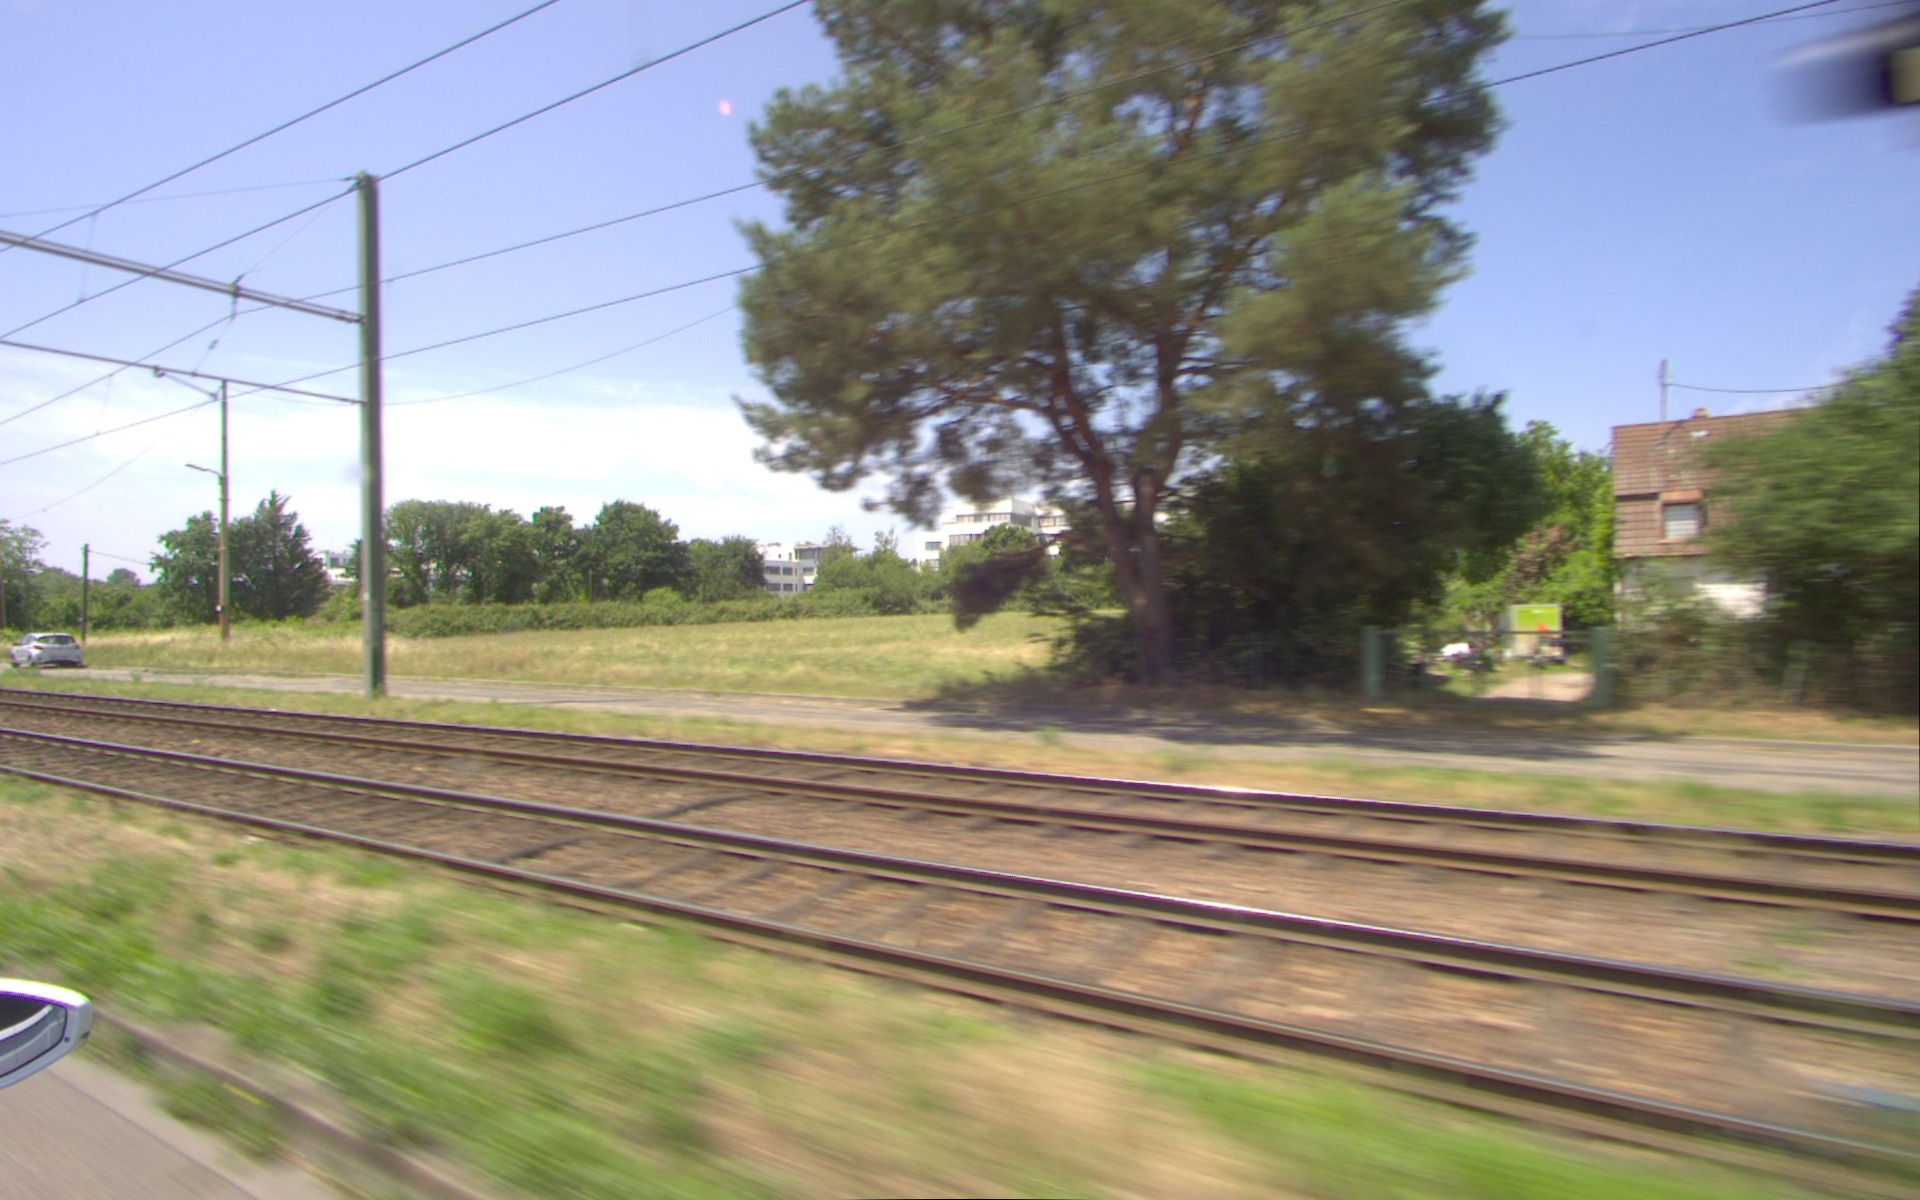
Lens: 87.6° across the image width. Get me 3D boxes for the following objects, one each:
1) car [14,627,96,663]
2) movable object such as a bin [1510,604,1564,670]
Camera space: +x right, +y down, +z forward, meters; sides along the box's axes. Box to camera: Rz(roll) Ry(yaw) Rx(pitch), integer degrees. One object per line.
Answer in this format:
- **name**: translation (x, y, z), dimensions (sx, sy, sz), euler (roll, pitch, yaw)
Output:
- **car**: translation (-39.437, 1.926, 43.614), dimensions (3.945, 1.507, 1.709), euler (-1, -2, 33)
- **movable object such as a bin**: translation (20.602, 1.312, 35.787), dimensions (1.613, 2.300, 1.582), euler (-1, -1, 29)
